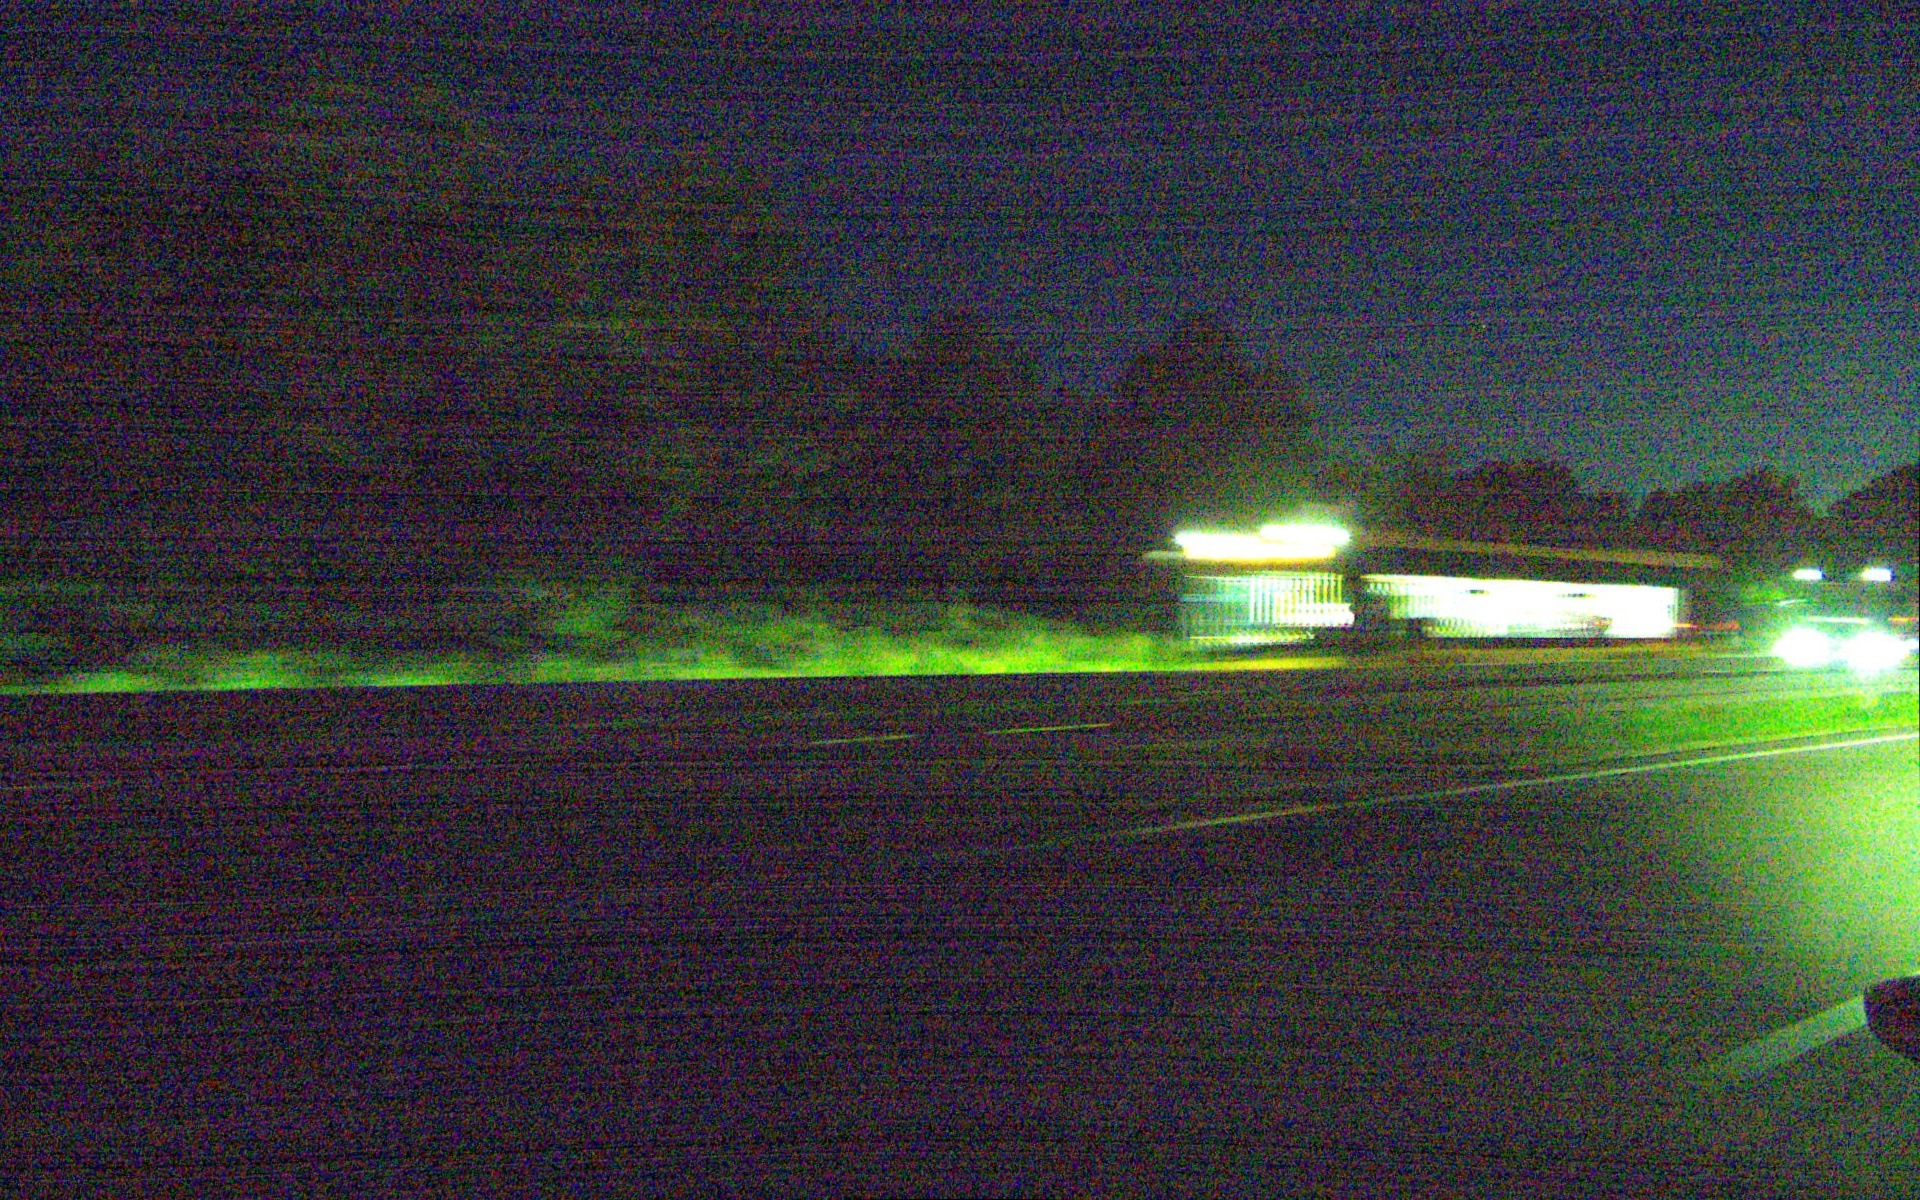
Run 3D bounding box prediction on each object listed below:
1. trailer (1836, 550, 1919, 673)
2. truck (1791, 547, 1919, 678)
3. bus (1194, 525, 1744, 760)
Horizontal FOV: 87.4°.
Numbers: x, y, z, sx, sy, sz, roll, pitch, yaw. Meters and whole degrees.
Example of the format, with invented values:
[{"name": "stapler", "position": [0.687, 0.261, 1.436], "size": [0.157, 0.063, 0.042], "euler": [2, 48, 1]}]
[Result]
[{"name": "trailer", "position": [38.323, 0.510, 38.386], "size": [13.572, 4.205, 2.666], "euler": [1, -1, -28]}, {"name": "truck", "position": [32.031, 0.464, 35.080], "size": [5.794, 4.232, 2.666], "euler": [1, -1, -28]}, {"name": "bus", "position": [10.019, 0.682, 18.889], "size": [12.154, 3.432, 2.911], "euler": [1, -1, -29]}]
